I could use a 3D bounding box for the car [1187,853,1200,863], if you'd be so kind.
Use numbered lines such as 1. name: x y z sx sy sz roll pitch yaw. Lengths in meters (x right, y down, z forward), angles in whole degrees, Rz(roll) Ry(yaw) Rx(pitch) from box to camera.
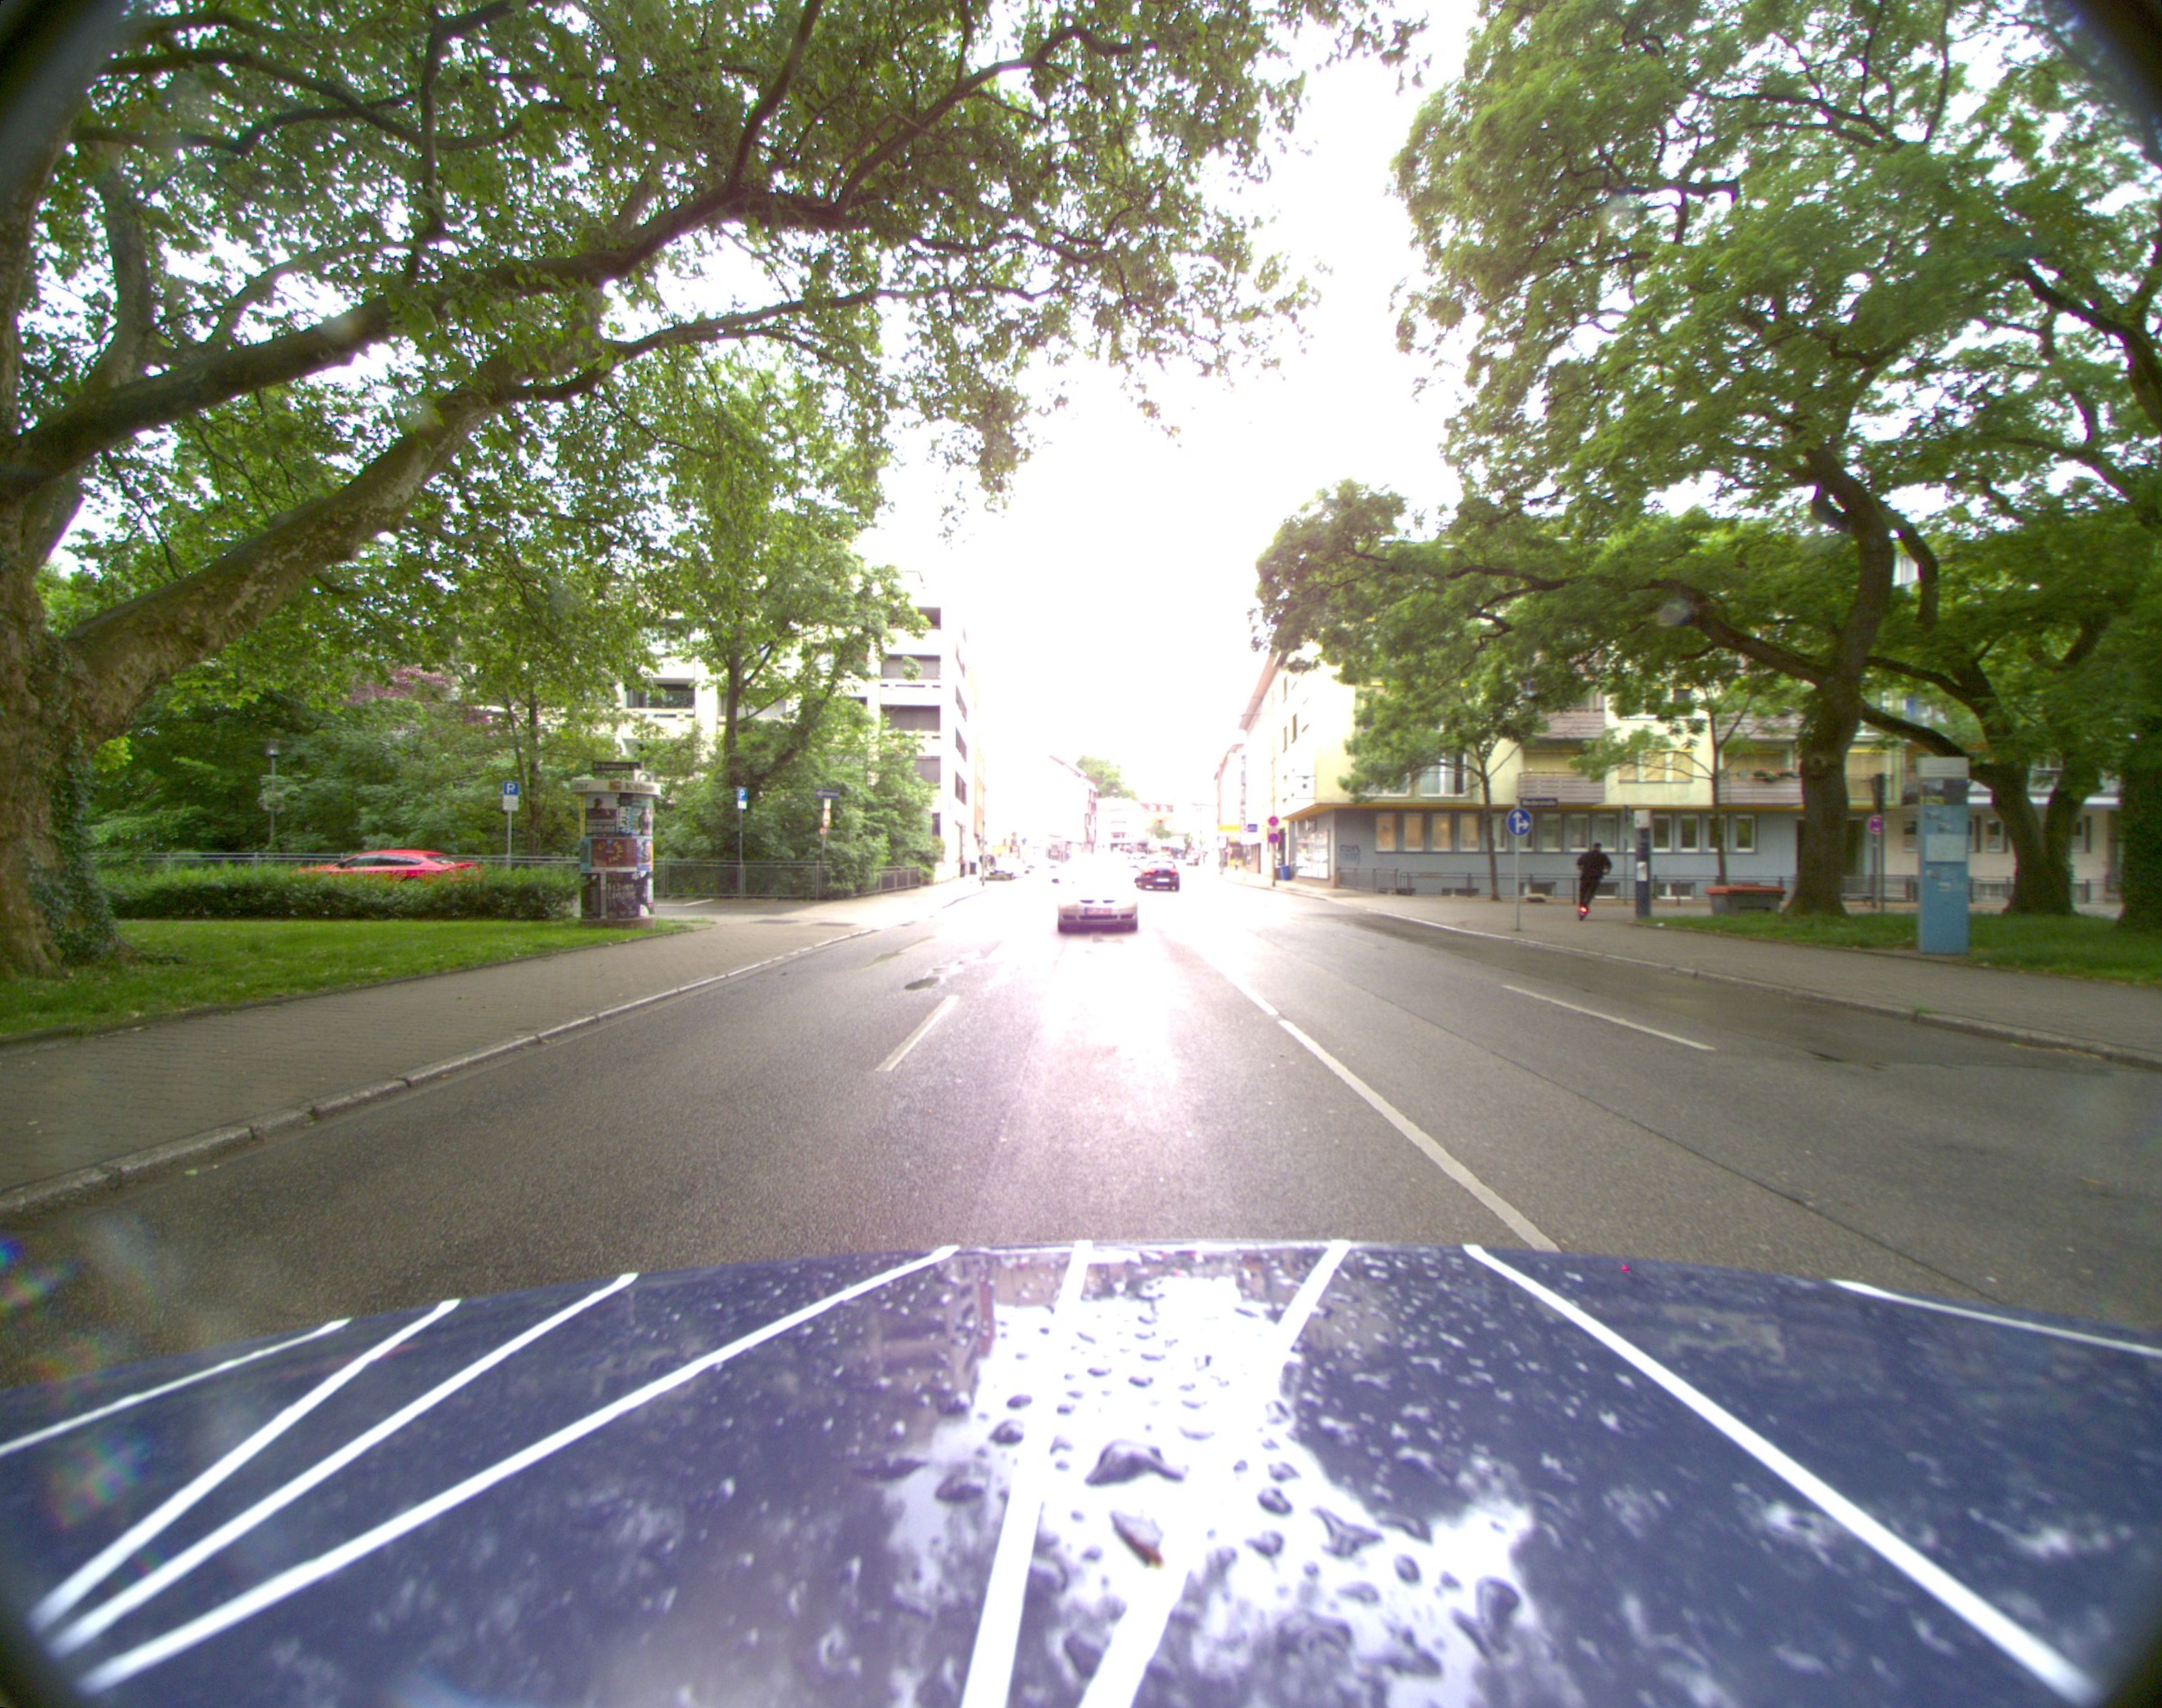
1. car: 17.957 0.673 121.381 1.834 1.612 4.003 0 0 10

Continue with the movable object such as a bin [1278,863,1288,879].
1. movable object such as a bin: 12.786 1.061 48.151 0.529 0.955 0.435 -4 0 8

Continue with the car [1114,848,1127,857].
1. car: 7.553 -0.307 144.572 2.043 1.754 4.573 1 0 9

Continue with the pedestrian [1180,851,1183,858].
1. pedestrian: 23.268 0.040 175.791 0.643 1.521 0.644 -3 1 -5

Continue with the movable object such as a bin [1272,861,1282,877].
1. movable object such as a bin: 12.977 1.009 50.421 0.517 0.994 0.524 -4 0 8

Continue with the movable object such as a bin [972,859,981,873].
1. movable object such as a bin: -8.603 0.982 62.815 0.681 1.097 0.514 0 1 -2

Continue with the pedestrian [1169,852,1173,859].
1. pedestrian: 20.708 0.292 174.604 0.643 1.521 0.645 -2 1 10

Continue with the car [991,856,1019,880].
1. car: -5.325 0.966 53.608 1.706 1.549 3.804 1 0 -1

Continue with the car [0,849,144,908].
1. car: -29.540 0.668 21.402 3.932 1.561 1.735 1 0 -4

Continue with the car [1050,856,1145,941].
1. car: 0.345 0.854 16.477 1.756 1.559 4.000 -2 0 1

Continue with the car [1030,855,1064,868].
1. car: -4.168 0.943 93.535 4.157 1.576 1.801 1 0 -1

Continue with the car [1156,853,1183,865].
1. car: 12.321 0.651 105.636 1.753 1.559 4.700 -2 0 32

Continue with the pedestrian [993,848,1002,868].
1. pedestrian: -9.215 0.453 83.501 0.806 2.140 0.737 0 1 -23

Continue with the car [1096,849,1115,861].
1. car: 3.692 0.168 112.544 2.015 1.754 4.767 1 0 12

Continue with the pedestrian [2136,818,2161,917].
1. pedestrian: 22.302 0.272 15.511 0.754 2.002 0.780 -1 1 -43

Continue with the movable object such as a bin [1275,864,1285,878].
1. movable object such as a bin: 12.739 1.080 48.685 0.529 0.890 0.435 -4 0 8

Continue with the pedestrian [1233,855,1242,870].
1. pedestrian: 17.115 0.966 82.896 0.785 1.578 0.674 -2 0 21

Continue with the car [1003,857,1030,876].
1. car: -5.064 0.932 60.479 1.835 1.412 4.569 1 0 -1

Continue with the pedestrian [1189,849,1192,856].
1. pedestrian: 24.918 -0.390 173.500 0.643 1.521 0.645 -2 1 7

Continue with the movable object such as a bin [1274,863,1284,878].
1. movable object such as a bin: 12.819 1.049 49.166 0.529 0.922 0.426 -4 0 8

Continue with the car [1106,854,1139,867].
1. car: 5.358 0.829 97.237 4.169 1.576 1.796 1 0 -43

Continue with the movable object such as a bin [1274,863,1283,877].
1. movable object such as a bin: 12.901 1.048 49.743 0.465 0.922 0.428 -4 0 8

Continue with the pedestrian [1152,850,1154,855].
1. pedestrian: 17.468 -0.435 184.677 0.379 1.283 0.401 0 1 38

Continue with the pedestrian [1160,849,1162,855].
1. pedestrian: 18.856 -0.438 178.433 0.379 1.283 0.401 1 1 39

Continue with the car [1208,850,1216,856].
1. car: 33.319 -0.192 193.410 1.591 1.518 3.491 0 0 14

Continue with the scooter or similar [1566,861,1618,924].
1. scooter or similar: 12.240 0.923 18.198 0.815 1.436 1.402 -3 -4 41

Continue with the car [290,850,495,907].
1. car: -19.561 0.674 21.752 3.999 1.473 1.875 1 1 -5

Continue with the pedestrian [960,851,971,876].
1. pedestrian: -7.983 0.642 52.607 0.599 1.650 0.691 3 0 -7

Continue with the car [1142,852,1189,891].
1. car: 3.790 0.753 34.748 1.850 1.616 4.138 1 0 2

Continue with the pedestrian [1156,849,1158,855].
1. pedestrian: 18.295 -0.455 183.167 0.379 1.283 0.401 0 1 38

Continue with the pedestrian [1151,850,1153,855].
1. pedestrian: 16.868 -0.366 180.358 0.379 1.283 0.401 1 1 38

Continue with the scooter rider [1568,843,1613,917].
1. scooter rider: 12.260 0.621 18.297 0.647 1.755 0.733 4 -2 -44

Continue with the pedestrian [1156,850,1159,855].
1. pedestrian: 17.984 -0.372 178.533 0.379 1.283 0.401 1 1 40
